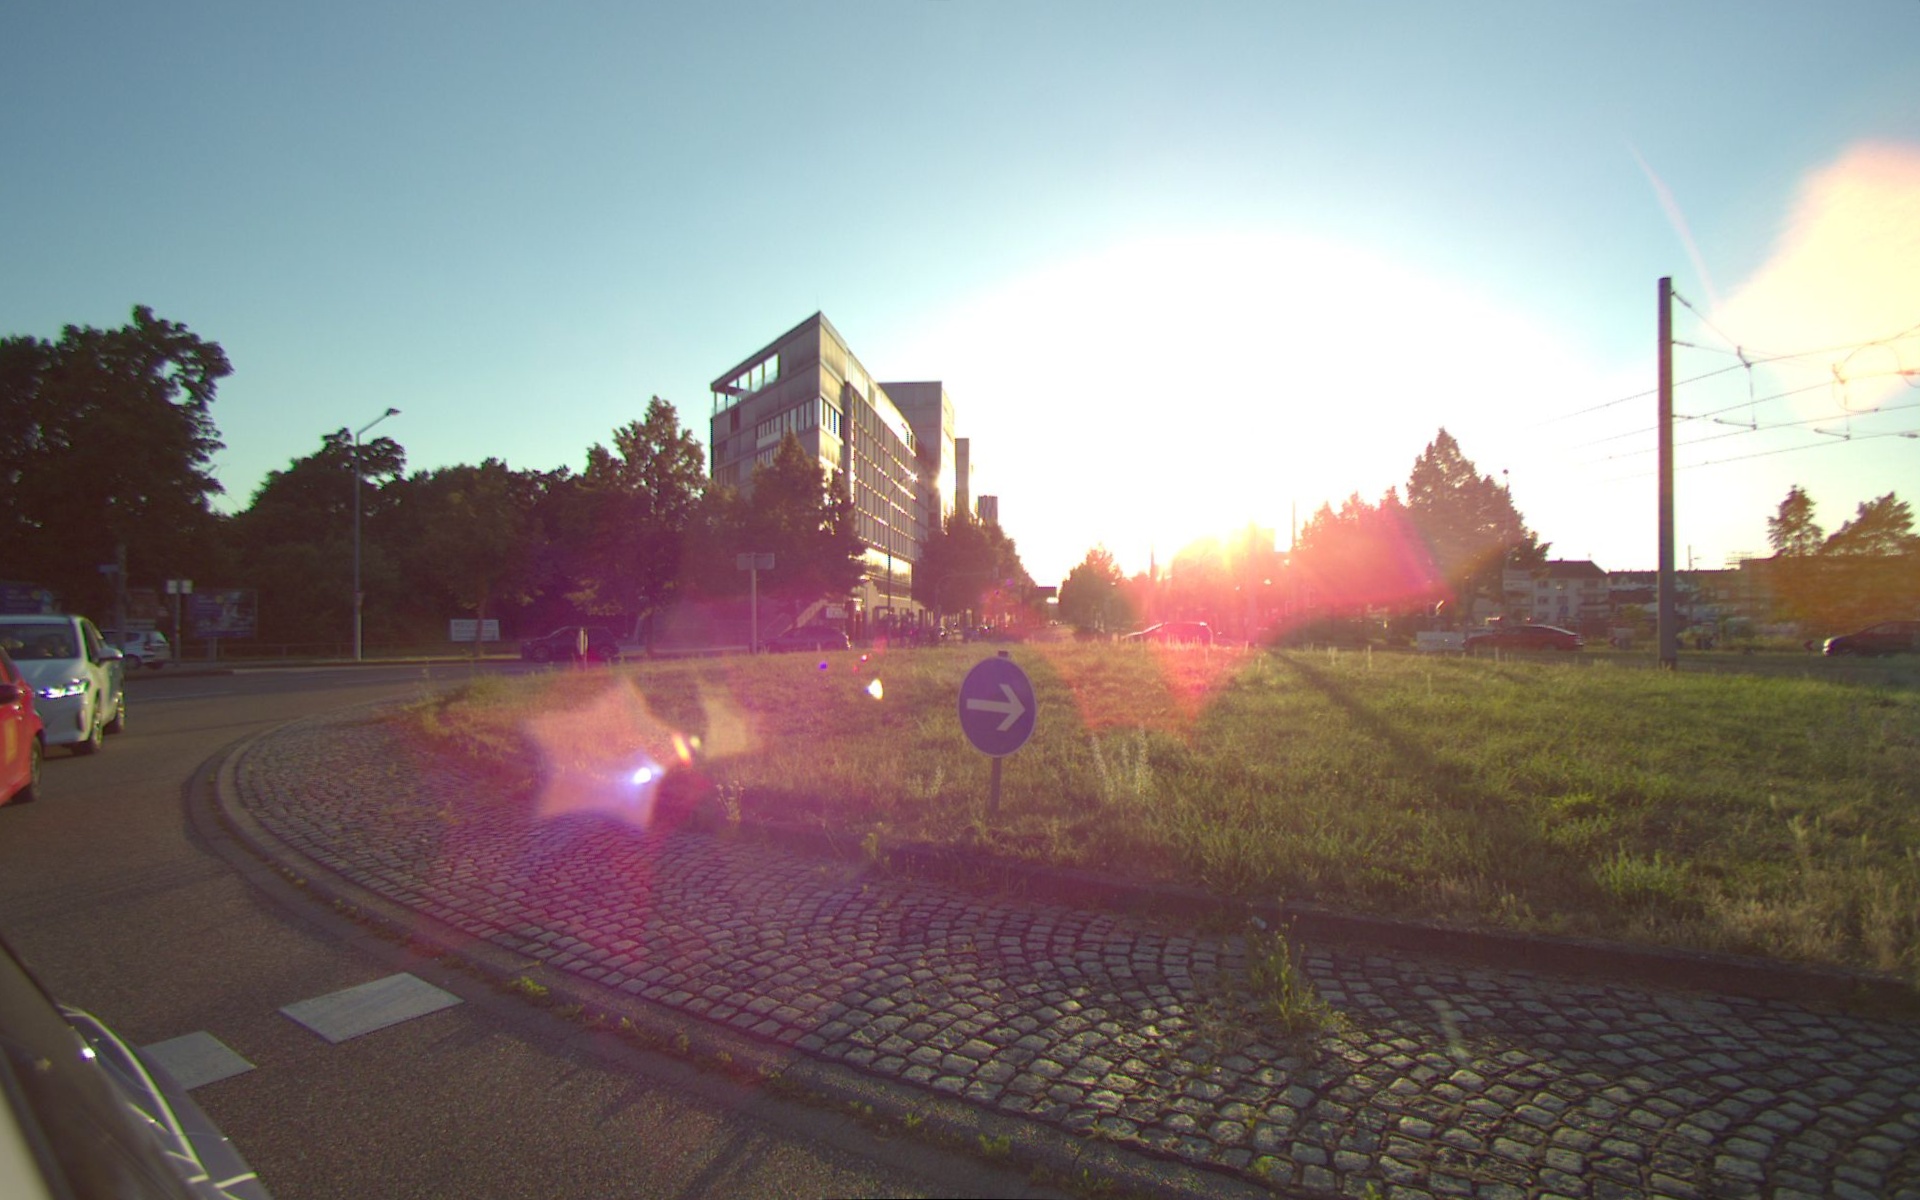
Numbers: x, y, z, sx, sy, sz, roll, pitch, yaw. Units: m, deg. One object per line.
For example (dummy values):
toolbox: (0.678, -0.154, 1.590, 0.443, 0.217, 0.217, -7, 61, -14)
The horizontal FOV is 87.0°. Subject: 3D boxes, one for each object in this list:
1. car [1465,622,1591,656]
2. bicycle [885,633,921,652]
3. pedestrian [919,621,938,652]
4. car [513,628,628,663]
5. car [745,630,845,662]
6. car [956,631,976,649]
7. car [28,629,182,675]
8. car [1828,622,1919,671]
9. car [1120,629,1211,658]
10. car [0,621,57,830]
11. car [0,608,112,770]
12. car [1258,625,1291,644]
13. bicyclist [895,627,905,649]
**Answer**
car: (24.859, 1.679, 44.388, 4.498, 1.402, 1.868, -1, -1, 44)
bicycle: (-3.742, 2.792, 66.246, 2.317, 1.254, 0.742, 0, -1, 3)
pedestrian: (-2.126, 2.419, 67.832, 0.996, 2.029, 0.768, -1, 0, 32)
car: (-16.353, 1.877, 42.472, 4.308, 1.386, 2.006, 0, -1, -28)
car: (-7.718, 2.138, 47.316, 4.276, 1.386, 2.006, 0, -1, -22)
car: (0.711, 4.595, 116.282, 1.976, 2.029, 3.992, -1, -1, 7)
car: (-31.189, 1.869, 37.054, 3.828, 1.592, 1.959, 0, -1, -12)
car: (32.496, 1.562, 34.481, 1.863, 1.597, 4.013, 0, -1, -24)
car: (10.146, 2.152, 50.242, 4.335, 1.386, 1.994, -1, -1, 10)
car: (-7.452, 0.861, 6.749, 1.661, 1.431, 4.010, 1, -1, -35)
car: (-11.096, 0.935, 11.593, 1.968, 1.618, 4.206, 1, -2, -38)
car: (26.837, 2.909, 86.528, 1.977, 1.591, 4.474, -1, -1, 8)
bicyclist: (-3.922, 2.469, 66.277, 0.603, 1.451, 0.691, 0, -1, 1)
